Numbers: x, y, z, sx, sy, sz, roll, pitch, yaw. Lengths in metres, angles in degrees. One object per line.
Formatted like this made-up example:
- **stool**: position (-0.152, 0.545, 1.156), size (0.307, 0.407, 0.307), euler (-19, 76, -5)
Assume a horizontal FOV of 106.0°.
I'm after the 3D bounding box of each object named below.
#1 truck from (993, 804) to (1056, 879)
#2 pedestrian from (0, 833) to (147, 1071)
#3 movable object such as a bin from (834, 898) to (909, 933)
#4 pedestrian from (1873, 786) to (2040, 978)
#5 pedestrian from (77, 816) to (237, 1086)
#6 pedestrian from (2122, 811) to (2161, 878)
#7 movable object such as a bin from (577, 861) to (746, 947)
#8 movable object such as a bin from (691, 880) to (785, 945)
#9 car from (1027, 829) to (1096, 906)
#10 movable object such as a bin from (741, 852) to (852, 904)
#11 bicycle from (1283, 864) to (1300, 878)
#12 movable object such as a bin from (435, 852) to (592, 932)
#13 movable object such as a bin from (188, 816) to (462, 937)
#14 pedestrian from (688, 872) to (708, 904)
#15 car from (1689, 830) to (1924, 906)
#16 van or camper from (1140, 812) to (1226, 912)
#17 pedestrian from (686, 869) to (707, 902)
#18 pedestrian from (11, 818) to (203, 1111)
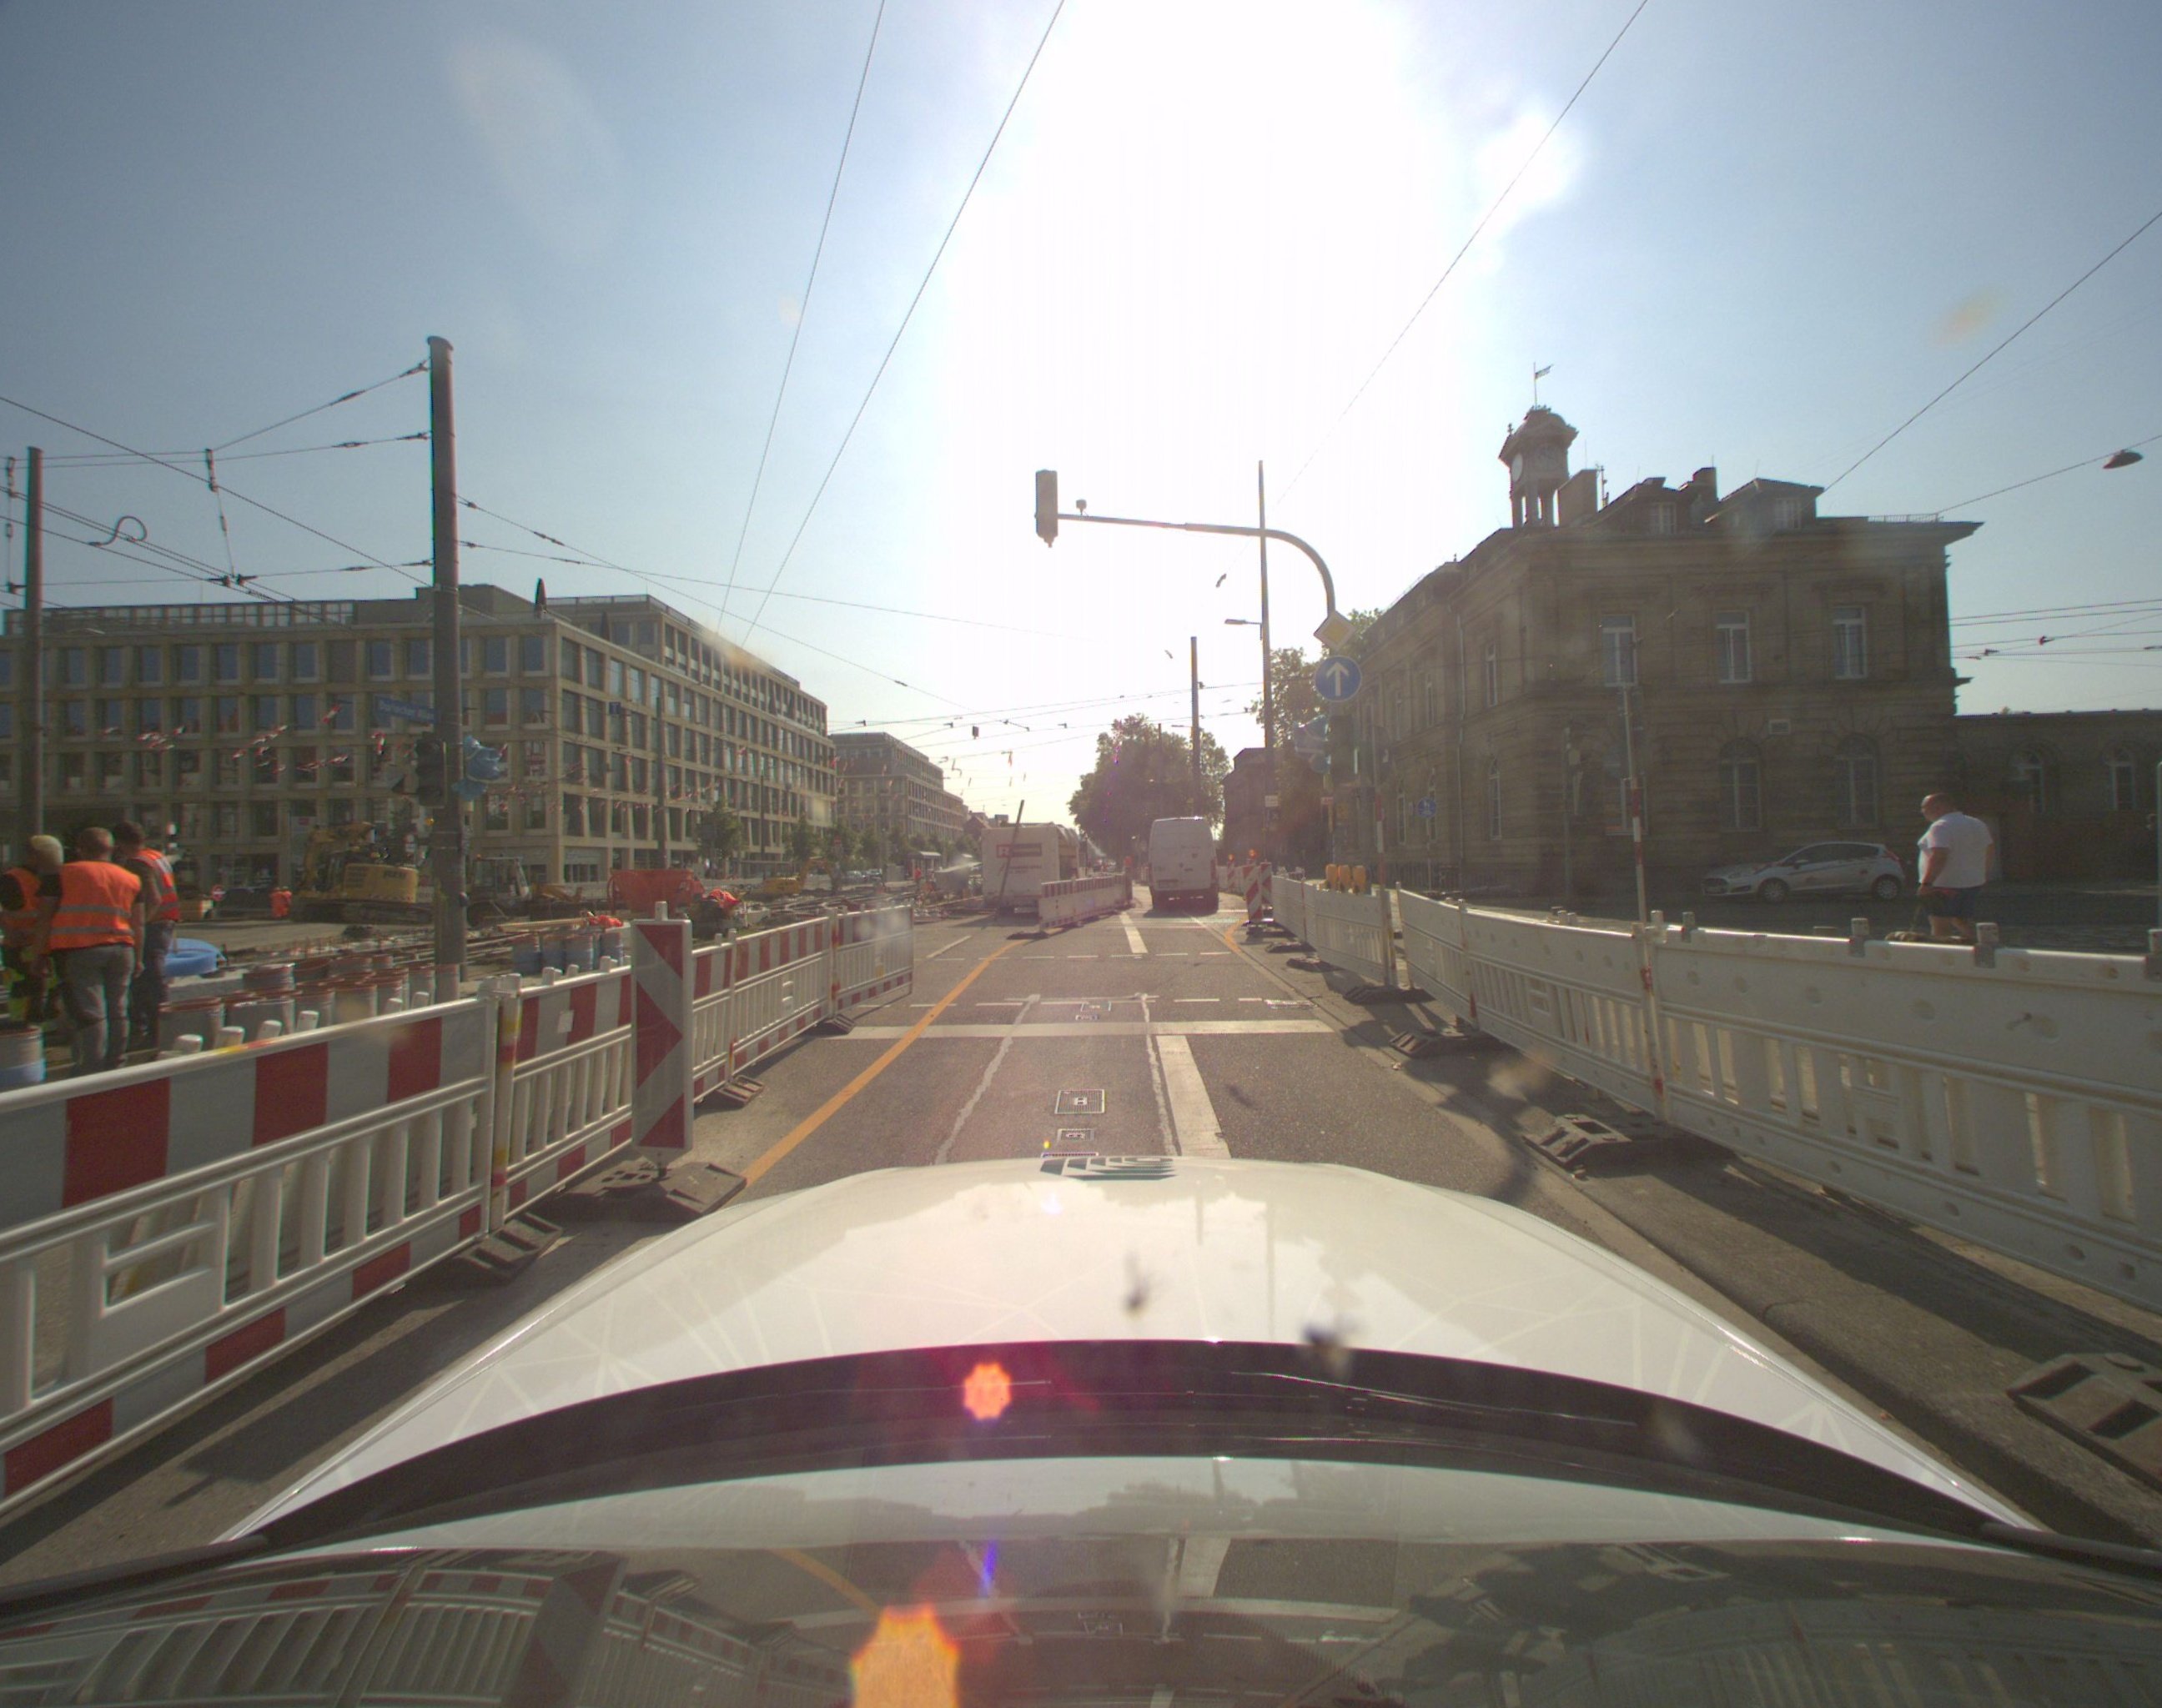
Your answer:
- **truck**: position (-3.429, -0.621, 47.178), size (2.792, 3.913, 8.388), euler (0, -1, -10)
- **pedestrian**: position (-8.568, 0.787, 6.810), size (0.714, 1.870, 0.710), euler (-2, -1, 10)
- **movable object such as a bin**: position (-4.803, 1.396, 18.609), size (1.701, 0.713, 0.722), euler (-3, -2, 35)
- **pedestrian**: position (8.389, 0.257, 7.830), size (0.866, 1.737, 0.669), euler (-1, -1, -8)
- **pedestrian**: position (-7.406, 0.730, 6.568), size (0.700, 2.015, 0.667), euler (-1, -2, -35)
- **pedestrian**: position (30.400, -0.273, 23.044), size (0.665, 1.864, 0.870), euler (-2, -1, 6)
- **movable object such as a bin**: position (-8.483, 0.955, 16.786), size (1.593, 1.559, 3.289), euler (-2, -1, 4)
- **movable object such as a bin**: position (-7.145, 1.180, 17.108), size (0.883, 1.211, 2.214), euler (-2, -1, 4)
- **car**: position (-0.666, 0.514, 30.253), size (2.201, 2.424, 7.196), euler (-2, -1, -1)
- **movable object such as a bin**: position (-17.475, 1.498, 50.826), size (3.599, 2.958, 8.479), euler (0, -2, 2)
- **bicycle**: position (16.934, 1.362, 65.543), size (0.492, 0.999, 1.808), euler (-1, 1, -17)
- **movable object such as a bin**: position (-21.997, 1.405, 31.758), size (4.837, 2.834, 2.422), euler (-1, -2, -36)
- **movable object such as a bin**: position (-30.659, 0.983, 33.306), size (7.303, 4.348, 4.989), euler (-2, -2, 15)
- **pedestrian**: position (-22.791, 2.006, 48.424), size (0.799, 1.865, 0.760), euler (-2, -1, 34)
- **car**: position (17.247, 0.344, 19.515), size (3.982, 1.537, 1.666), euler (-3, -1, 3)
- **van or camper**: position (3.318, 0.222, 25.475), size (2.101, 2.682, 5.267), euler (-4, -1, 11)
- **pedestrian**: position (-22.260, 1.792, 47.154), size (0.922, 1.865, 0.807), euler (-1, -1, -9)
- **pedestrian**: position (-6.951, 0.731, 5.857), size (0.717, 1.926, 0.677), euler (-1, -2, -35)
